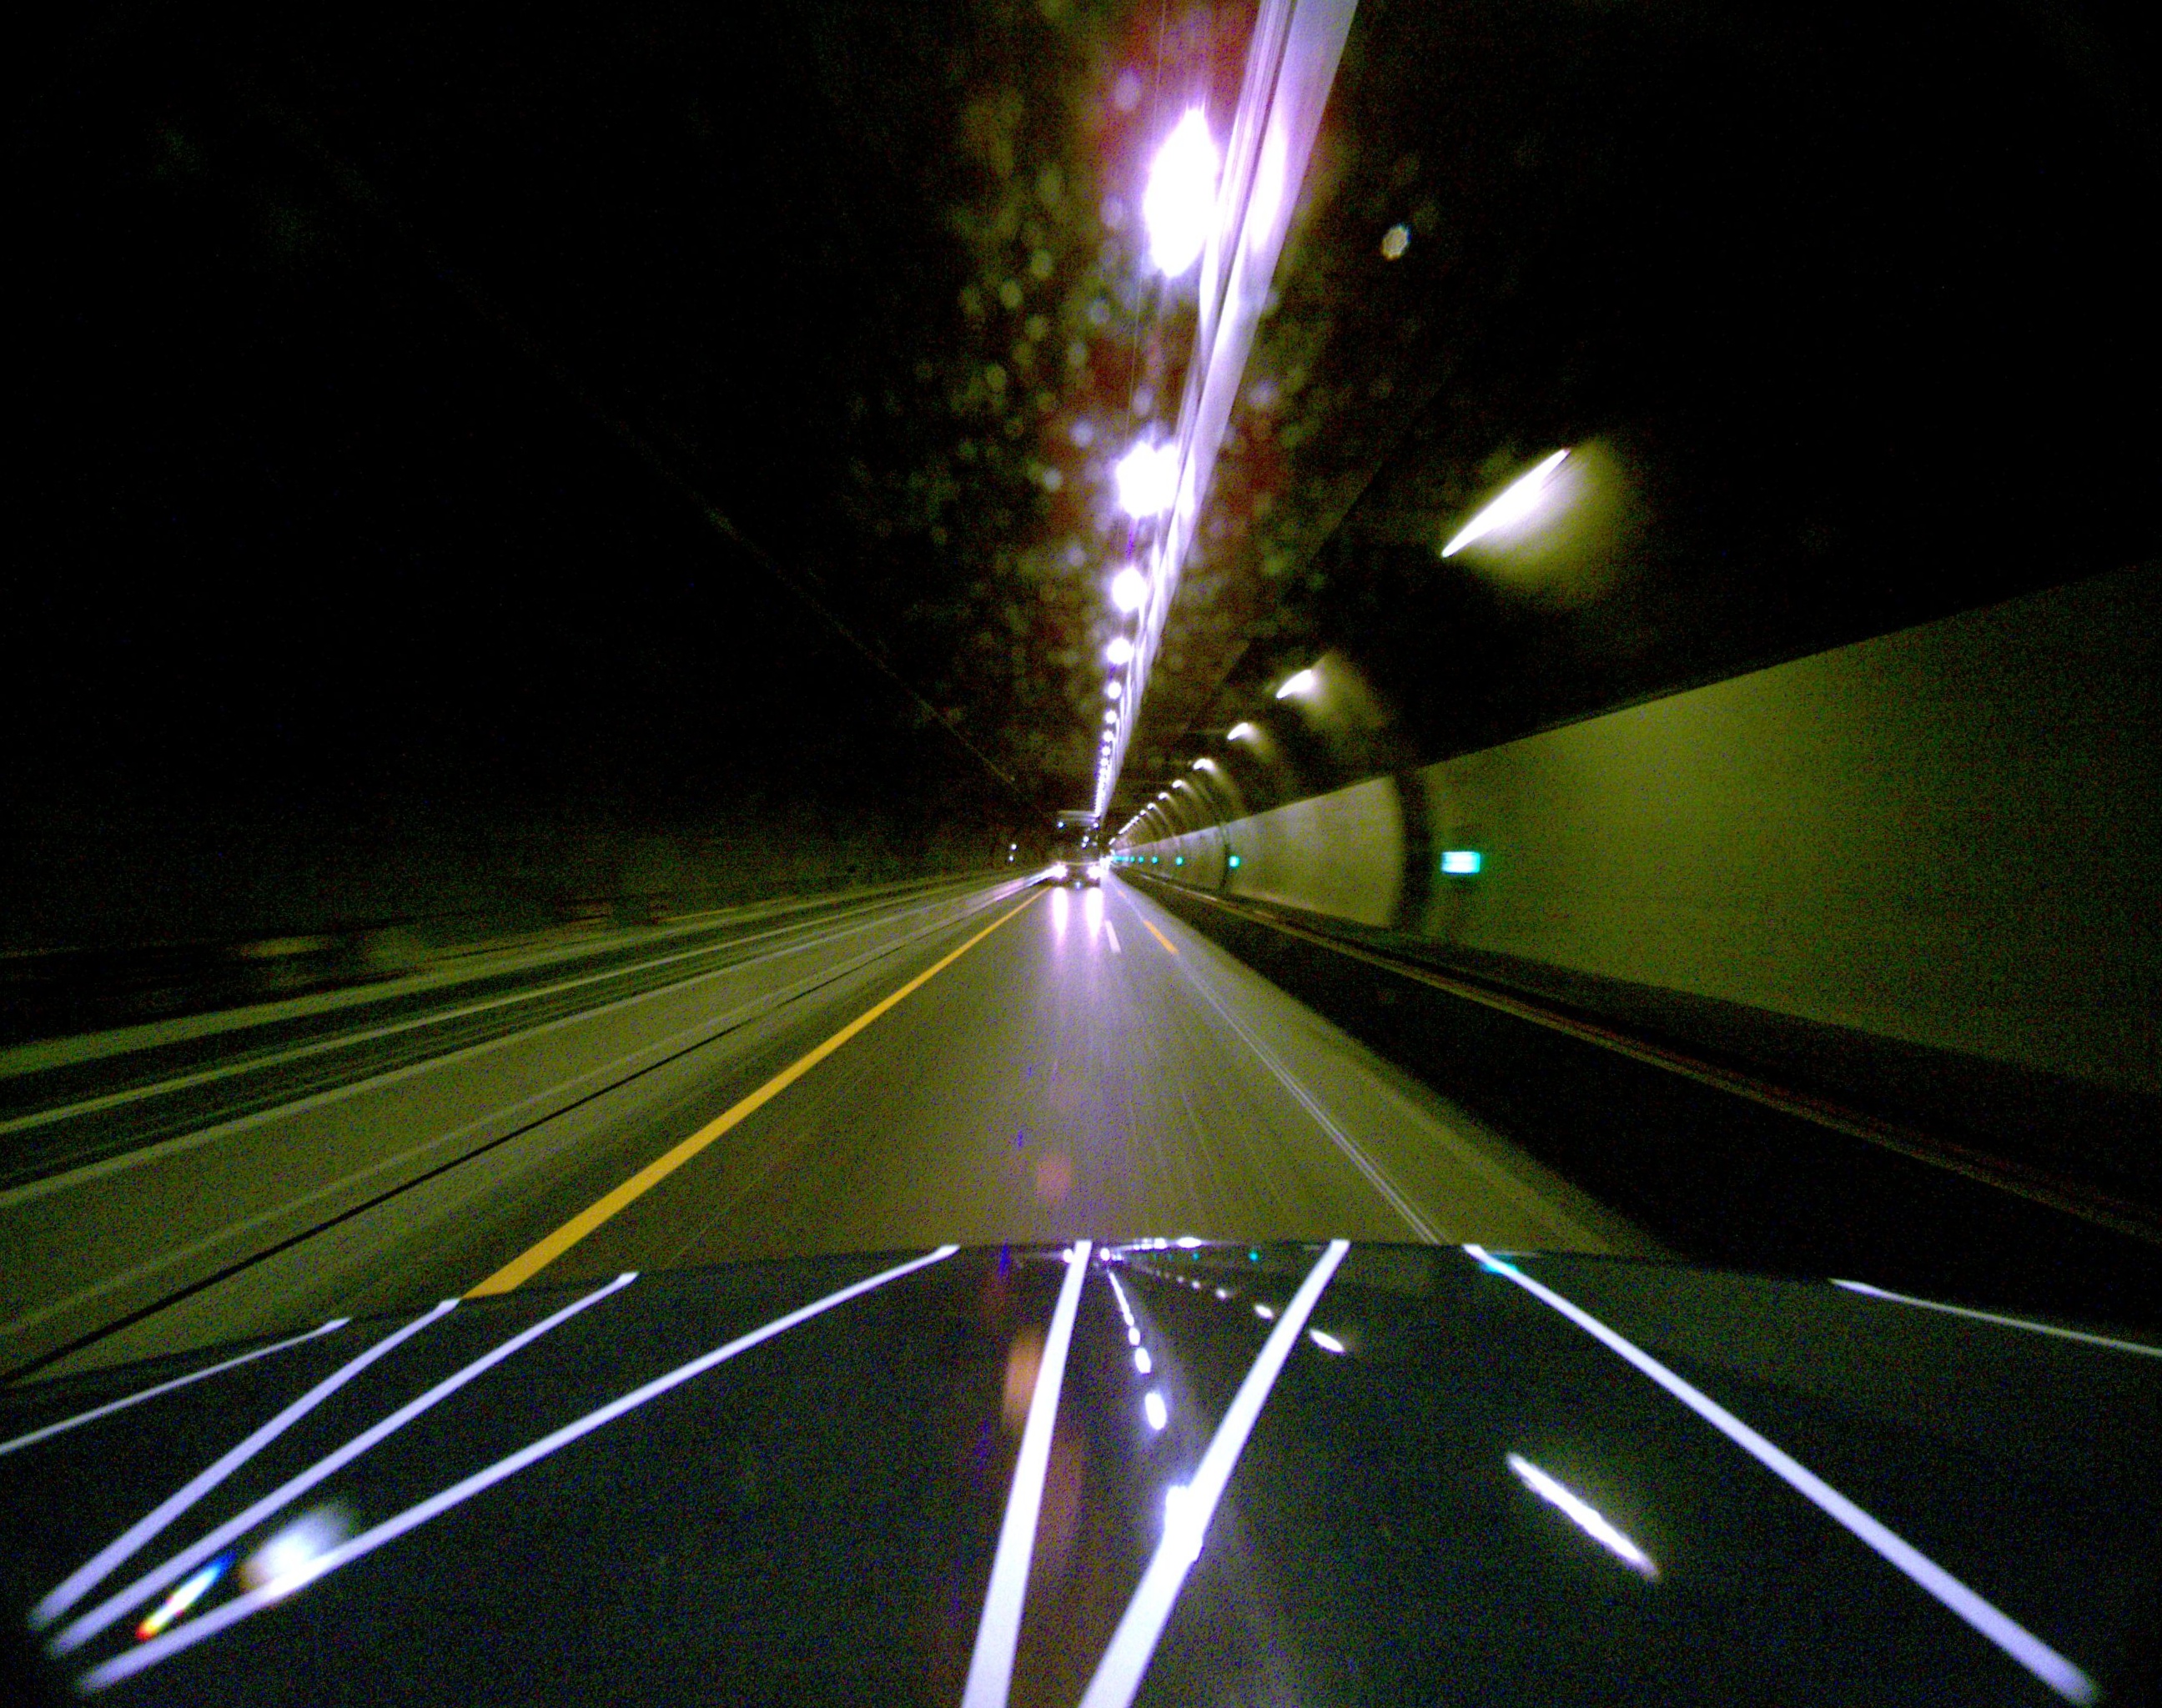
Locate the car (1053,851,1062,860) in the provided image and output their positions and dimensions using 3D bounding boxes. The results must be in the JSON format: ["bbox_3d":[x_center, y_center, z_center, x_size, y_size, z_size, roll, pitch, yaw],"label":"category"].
[{"bbox_3d":[-4.889,0.388,158.967,1.756,1.834,4.644,2,0,-3],"label":"car"}]

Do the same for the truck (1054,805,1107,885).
[{"bbox_3d":[0.072,-0.480,44.131,2.769,4.198,7.978,0,0,2],"label":"truck"}]
